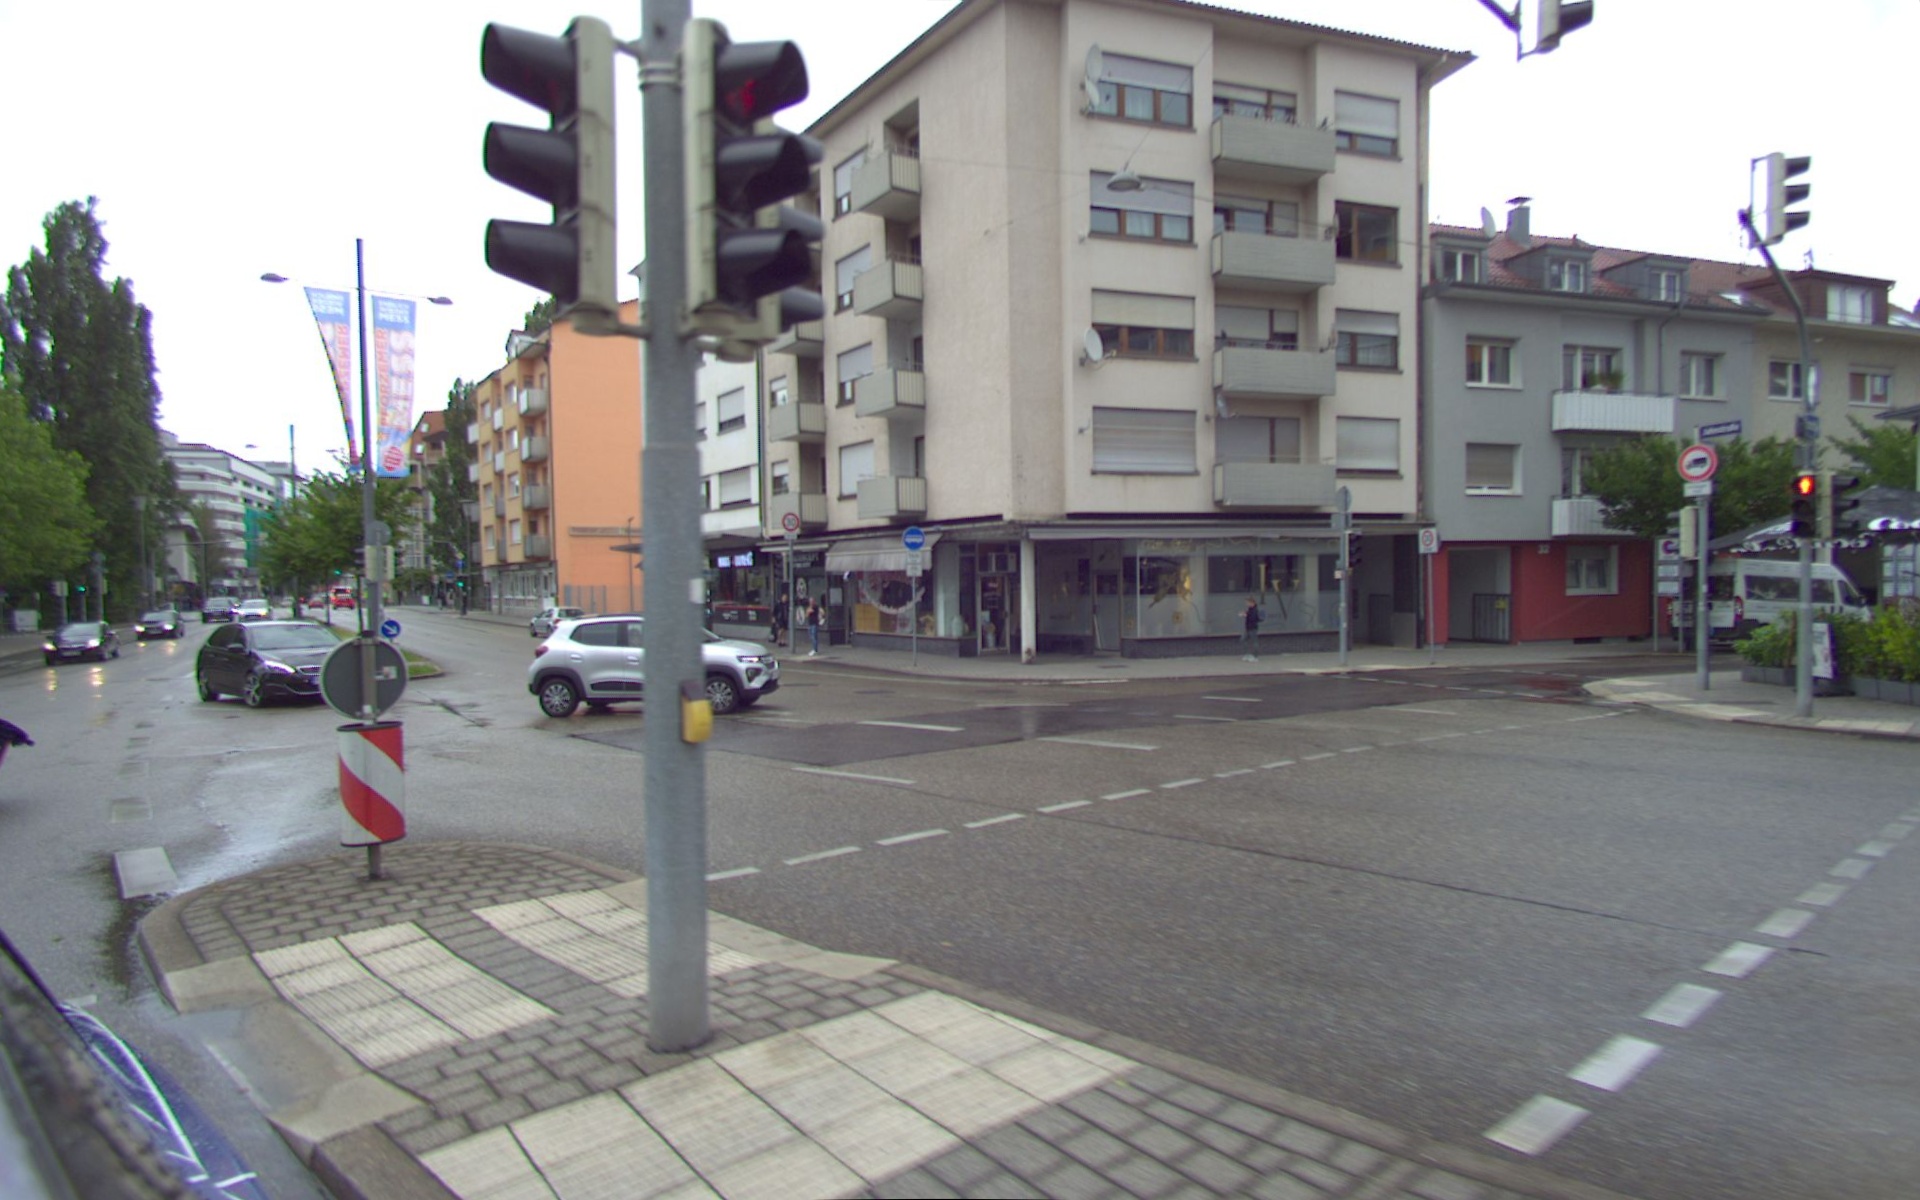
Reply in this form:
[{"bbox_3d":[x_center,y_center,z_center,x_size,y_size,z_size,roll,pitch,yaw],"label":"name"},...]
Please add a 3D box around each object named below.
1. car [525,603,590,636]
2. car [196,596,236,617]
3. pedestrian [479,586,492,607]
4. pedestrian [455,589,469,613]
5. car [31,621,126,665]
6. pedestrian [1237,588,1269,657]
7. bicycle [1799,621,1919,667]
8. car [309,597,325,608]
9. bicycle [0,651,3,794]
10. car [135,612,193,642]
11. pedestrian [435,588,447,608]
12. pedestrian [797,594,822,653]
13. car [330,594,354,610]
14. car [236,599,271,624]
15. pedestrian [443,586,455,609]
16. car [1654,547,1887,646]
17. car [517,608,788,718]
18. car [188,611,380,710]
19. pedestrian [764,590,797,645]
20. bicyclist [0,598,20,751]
[{"bbox_3d":[-18.212,0.856,45.651,1.654,1.402,4.161,1,0,-38],"label":"car"},{"bbox_3d":[-54.349,0.457,73.991,1.865,1.499,4.374,0,0,-30],"label":"car"},{"bbox_3d":[-39.947,-0.313,85.203,0.679,1.703,0.741,-1,1,23],"label":"pedestrian"},{"bbox_3d":[-37.436,0.073,76.089,0.608,1.741,0.554,-2,4,36],"label":"pedestrian"},{"bbox_3d":[-32.299,1.524,37.216,1.865,1.410,4.374,0,0,-30],"label":"car"},{"bbox_3d":[7.285,0.557,25.189,0.594,1.662,0.529,-1,4,-5],"label":"pedestrian"},{"bbox_3d":[18.283,0.868,20.292,0.609,0.815,2.218,-1,0,-22],"label":"bicycle"},{"bbox_3d":[-81.431,0.329,128.162,1.546,1.404,3.844,0,1,-36],"label":"car"},{"bbox_3d":[-8.478,1.089,8.226,0.706,1.315,2.433,0,-2,-36],"label":"bicycle"},{"bbox_3d":[-41.202,1.365,52.465,1.866,1.432,4.373,0,0,-32],"label":"car"},{"bbox_3d":[-44.981,-0.158,87.719,0.754,1.708,0.802,-2,2,-38],"label":"pedestrian"},{"bbox_3d":[-4.589,0.705,30.928,0.446,1.743,0.526,-6,3,-32],"label":"pedestrian"},{"bbox_3d":[-59.799,0.218,97.913,1.582,1.441,3.954,1,0,-37],"label":"car"},{"bbox_3d":[-47.231,0.737,67.664,1.866,1.588,4.372,0,0,-35],"label":"car"},{"bbox_3d":[-42.701,-0.207,84.561,0.734,1.901,0.802,-2,1,-38],"label":"pedestrian"},{"bbox_3d":[22.492,-0.130,28.152,5.169,2.528,2.413,-1,0,-14],"label":"car"},{"bbox_3d":[-4.564,0.921,15.269,3.585,1.472,1.539,-2,1,7],"label":"car"},{"bbox_3d":[-12.389,1.004,18.430,4.394,1.444,1.781,0,3,41],"label":"car"},{"bbox_3d":[-6.015,0.568,33.899,0.767,1.742,0.662,-6,3,-33],"label":"pedestrian"},{"bbox_3d":[-8.304,0.636,8.158,0.948,1.235,0.716,-3,-1,-36],"label":"bicyclist"}]
